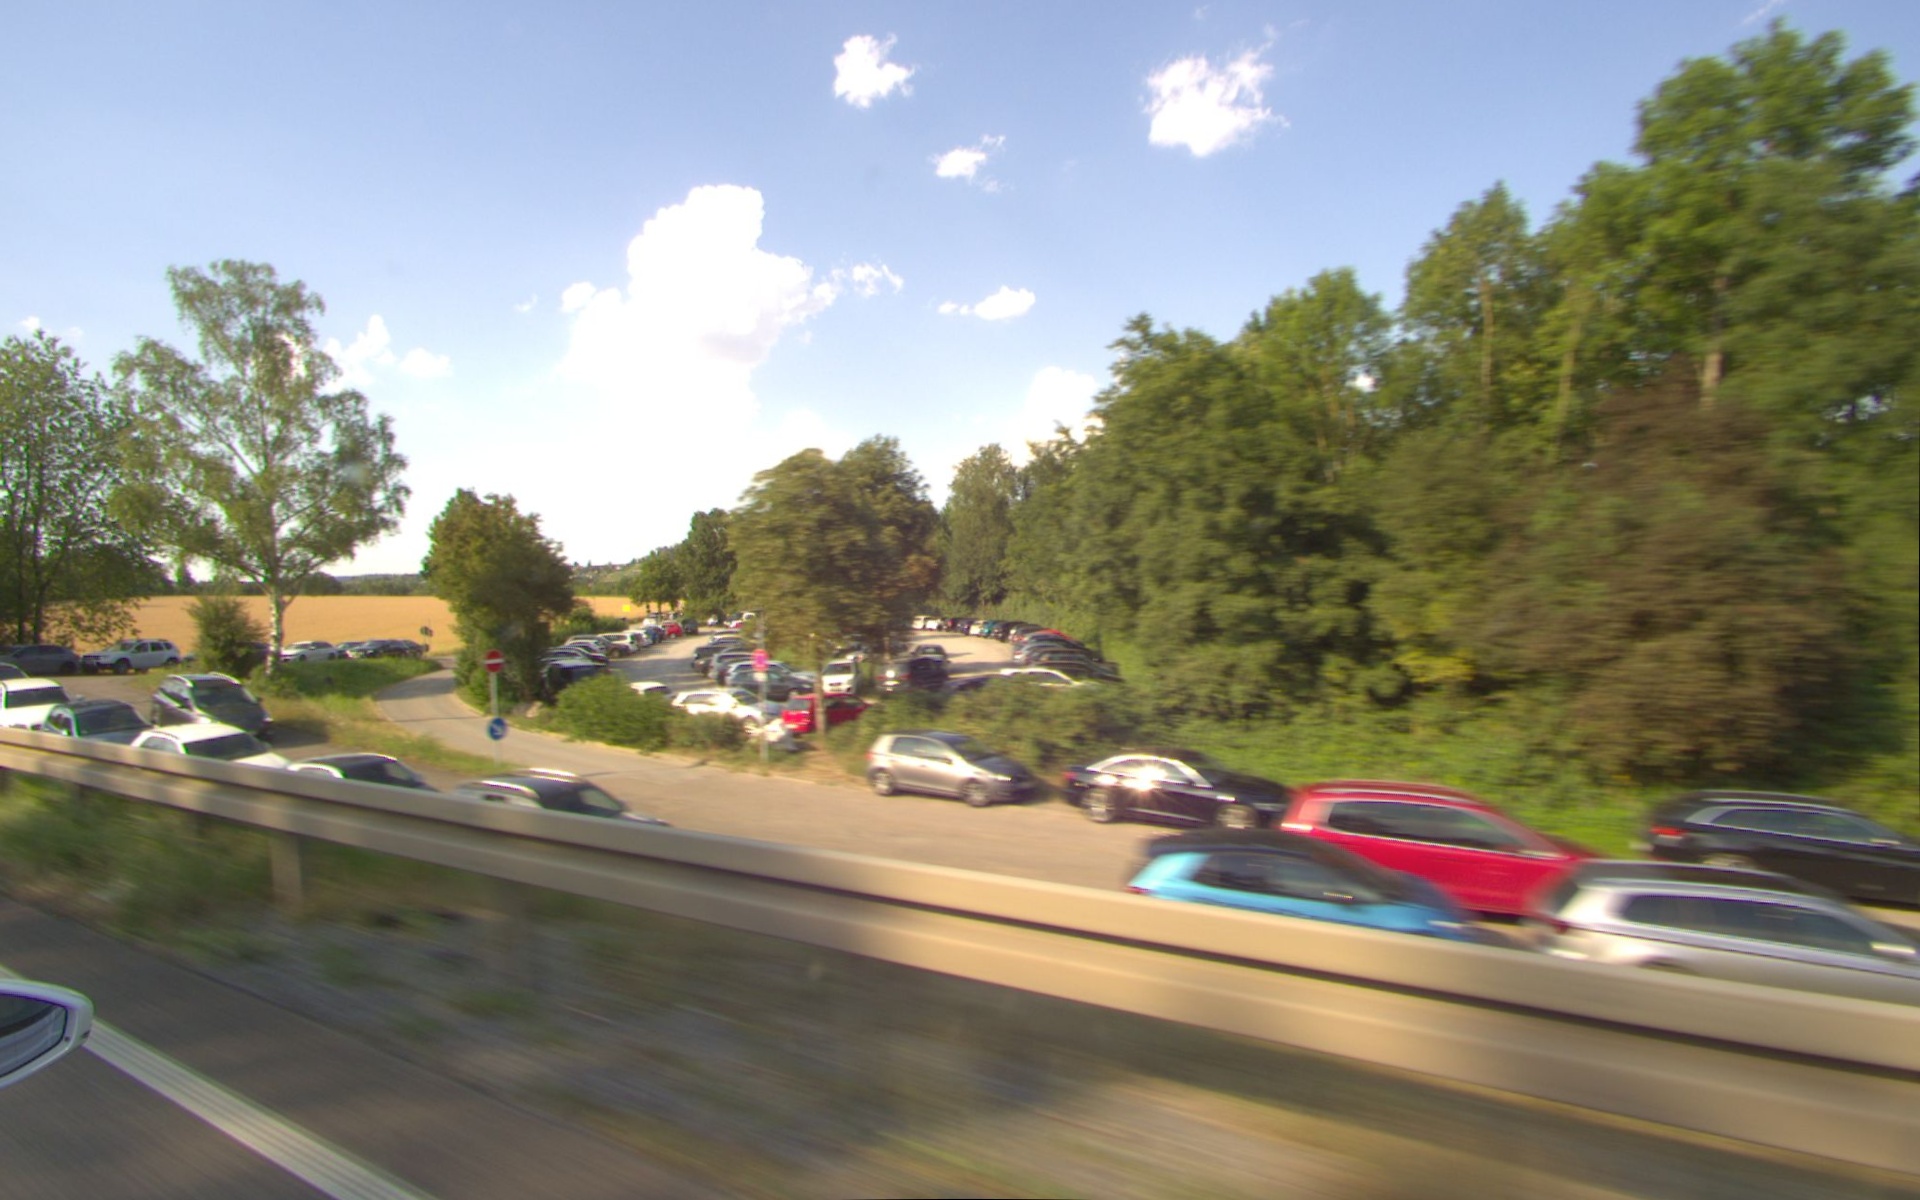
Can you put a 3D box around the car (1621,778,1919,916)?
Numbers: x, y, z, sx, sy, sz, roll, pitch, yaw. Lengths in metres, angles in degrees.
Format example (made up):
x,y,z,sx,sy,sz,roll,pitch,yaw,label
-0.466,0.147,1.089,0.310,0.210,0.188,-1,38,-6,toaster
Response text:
x,y,z,sx,sy,sz,roll,pitch,yaw,label
13.080,3.749,15.365,4.709,1.418,1.699,-1,2,27,car

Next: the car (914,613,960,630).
x,y,z,sx,sy,sz,roll,pitch,yaw,label
-2.428,2.204,103.817,4.511,1.713,1.802,0,0,-12,car

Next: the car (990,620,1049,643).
x,y,z,sx,sy,sz,roll,pitch,yaw,label
4.678,2.469,78.701,4.508,1.713,1.803,0,0,7,car

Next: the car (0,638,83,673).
x,y,z,sx,sy,sz,roll,pitch,yaw,label
-41.144,2.423,43.890,1.777,1.459,3.731,0,-2,10,car

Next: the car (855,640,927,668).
x,y,z,sx,sy,sz,roll,pitch,yaw,label
-4.350,3.395,63.428,4.507,1.713,1.803,0,0,-4,car

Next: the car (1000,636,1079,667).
x,y,z,sx,sy,sz,roll,pitch,yaw,label
4.665,3.011,58.519,4.508,1.713,1.803,0,0,7,car

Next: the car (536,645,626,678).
x,y,z,sx,sy,sz,roll,pitch,yaw,label
-21.596,3.483,57.218,4.511,1.713,1.802,0,0,-11,car

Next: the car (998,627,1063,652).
x,y,z,sx,sy,sz,roll,pitch,yaw,label
4.995,2.764,70.805,4.508,1.713,1.803,0,0,7,car

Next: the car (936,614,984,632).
x,y,z,sx,sy,sz,roll,pitch,yaw,label
0.032,2.232,98.487,4.508,1.713,1.803,0,0,7,car

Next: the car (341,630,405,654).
x,y,z,sx,sy,sz,roll,pitch,yaw,label
-37.913,2.730,64.803,1.776,1.459,3.935,1,-2,0,car

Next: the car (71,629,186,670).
x,y,z,sx,sy,sz,roll,pitch,yaw,label
-40.486,2.362,48.903,1.776,1.771,4.216,0,0,8,car

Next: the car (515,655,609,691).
x,y,z,sx,sy,sz,roll,pitch,yaw,label
-21.673,3.964,54.565,4.533,1.713,1.793,0,-1,-32,car

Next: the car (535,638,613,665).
x,y,z,sx,sy,sz,roll,pitch,yaw,label
-25.286,3.357,65.654,4.511,1.713,1.802,0,0,-11,car

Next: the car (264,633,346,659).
x,y,z,sx,sy,sz,roll,pitch,yaw,label
-40.199,2.800,61.617,1.961,1.526,4.646,0,-2,0,car

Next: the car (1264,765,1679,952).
x,y,z,sx,sy,sz,roll,pitch,yaw,label
7.073,3.562,14.445,4.999,1.710,1.893,1,1,22,car

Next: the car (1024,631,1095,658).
x,y,z,sx,sy,sz,roll,pitch,yaw,label
6.433,2.881,64.755,4.508,1.713,1.803,0,0,7,car

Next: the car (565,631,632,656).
x,y,z,sx,sy,sz,roll,pitch,yaw,label
-26.850,3.216,74.499,4.511,1.713,1.802,0,0,-11,car

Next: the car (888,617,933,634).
x,y,z,sx,sy,sz,roll,pitch,yaw,label
-5.192,2.648,105.224,4.511,1.713,1.802,0,0,-11,car

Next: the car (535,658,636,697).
x,y,z,sx,sy,sz,roll,pitch,yaw,label
-18.827,3.856,50.413,4.533,1.713,1.793,0,-1,-32,car

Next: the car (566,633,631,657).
x,y,z,sx,sy,sz,roll,pitch,yaw,label
-27.928,3.468,77.422,4.511,1.713,1.802,0,0,-11,car

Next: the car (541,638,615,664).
x,y,z,sx,sy,sz,roll,pitch,yaw,label
-26.159,3.471,68.659,4.511,1.713,1.802,0,0,-11,car

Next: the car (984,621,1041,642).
x,y,z,sx,sy,sz,roll,pitch,yaw,label
4.247,2.542,80.888,4.508,1.713,1.803,0,0,7,car

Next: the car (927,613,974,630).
x,y,z,sx,sy,sz,roll,pitch,yaw,label
-0.910,2.156,100.714,4.508,1.713,1.803,0,0,7,car

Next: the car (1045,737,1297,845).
x,y,z,sx,sy,sz,roll,pitch,yaw,label
4.228,3.789,20.388,4.718,1.418,1.696,-1,2,34,car

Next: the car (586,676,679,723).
x,y,z,sx,sy,sz,roll,pitch,yaw,label
-13.042,3.893,39.723,4.245,1.505,1.680,0,0,43,car

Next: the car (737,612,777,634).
x,y,z,sx,sy,sz,roll,pitch,yaw,label
-23.996,2.673,118.814,2.455,2.339,6.074,-2,0,11,car

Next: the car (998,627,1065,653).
x,y,z,sx,sy,sz,roll,pitch,yaw,label
4.897,2.739,68.173,4.508,1.713,1.803,0,0,7,car

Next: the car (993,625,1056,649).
x,y,z,sx,sy,sz,roll,pitch,yaw,label
4.708,2.665,72.954,4.508,1.713,1.803,0,0,7,car

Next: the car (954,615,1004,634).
x,y,z,sx,sy,sz,roll,pitch,yaw,label
1.790,2.289,92.374,4.508,1.713,1.803,0,0,7,car

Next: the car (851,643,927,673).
x,y,z,sx,sy,sz,roll,pitch,yaw,label
-4.311,3.526,61.036,4.507,1.713,1.803,0,0,-4,car

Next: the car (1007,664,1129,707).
x,y,z,sx,sy,sz,roll,pitch,yaw,label
4.275,3.352,39.643,4.690,1.579,1.898,0,-2,8,car

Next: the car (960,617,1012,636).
x,y,z,sx,sy,sz,roll,pitch,yaw,label
2.339,2.379,89.930,4.508,1.713,1.803,0,0,7,car

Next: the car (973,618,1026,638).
x,y,z,sx,sy,sz,roll,pitch,yaw,label
3.453,2.405,86.810,4.508,1.713,1.803,0,0,7,car

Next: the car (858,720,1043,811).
x,y,z,sx,sy,sz,roll,pitch,yaw,label
-0.253,3.772,23.340,4.039,1.418,1.697,1,3,31,car

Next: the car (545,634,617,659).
x,y,z,sx,sy,sz,roll,pitch,yaw,label
-26.856,3.271,71.117,4.511,1.713,1.802,0,0,-11,car
